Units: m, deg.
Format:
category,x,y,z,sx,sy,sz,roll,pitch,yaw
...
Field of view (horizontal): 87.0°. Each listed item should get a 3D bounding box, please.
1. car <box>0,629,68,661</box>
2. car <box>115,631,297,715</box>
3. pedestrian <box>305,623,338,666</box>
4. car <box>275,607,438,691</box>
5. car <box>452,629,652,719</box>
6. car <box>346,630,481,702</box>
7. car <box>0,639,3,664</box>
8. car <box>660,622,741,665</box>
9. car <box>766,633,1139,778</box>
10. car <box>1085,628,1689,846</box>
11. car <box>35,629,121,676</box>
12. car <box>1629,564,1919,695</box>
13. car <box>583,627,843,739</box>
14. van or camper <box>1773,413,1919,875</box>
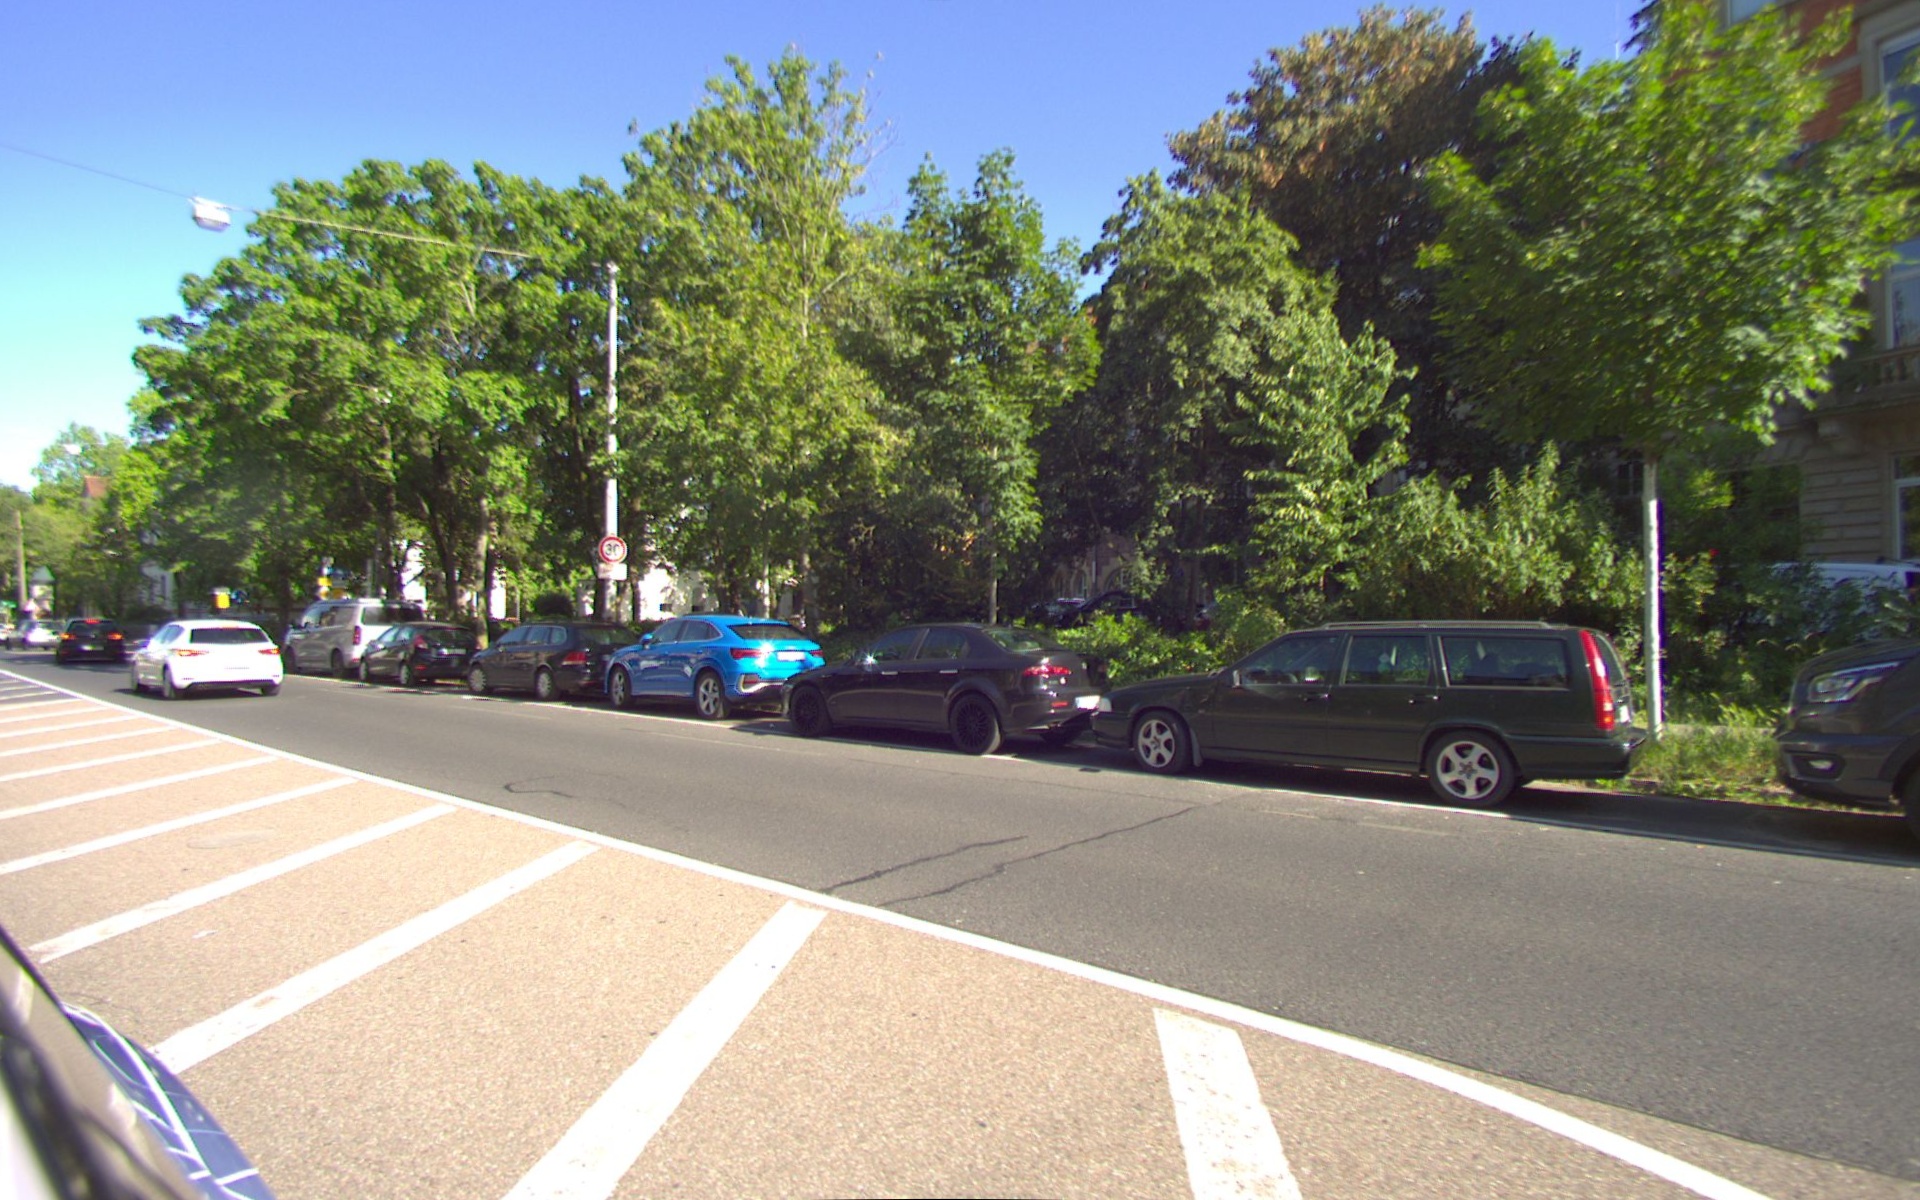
category,x,y,z,sx,sy,sz,roll,pitch,yaw
car,-44.882,2.176,48.984,3.774,1.502,1.821,-1,-3,37
car,-14.661,1.338,19.596,4.222,1.430,1.898,-1,-3,40
pedestrian,-26.198,1.816,41.540,0.817,1.768,0.863,-1,-1,30
car,-16.157,1.308,27.009,4.867,2.052,1.965,-1,-4,37
car,-7.852,1.343,19.306,4.266,1.493,1.575,0,-3,38
car,-12.833,1.491,23.665,3.957,1.513,1.448,-1,-3,41
car,-60.679,3.204,62.635,4.713,1.505,1.784,-2,-2,43
car,-14.388,2.379,55.949,4.915,2.263,1.868,-2,-3,41
car,-0.225,1.136,12.145,4.402,1.424,1.762,-2,-4,41
car,3.534,1.009,8.983,4.659,1.468,1.676,-1,-4,40
car,-29.304,1.701,33.585,4.131,1.461,1.576,-1,-2,41
car,14.220,0.479,17.186,1.833,1.928,4.466,2,-1,-25
car,-4.069,1.245,16.218,4.558,1.550,1.761,-1,-5,42
van or camper,8.247,0.232,5.322,6.085,2.760,2.193,-2,-2,41
